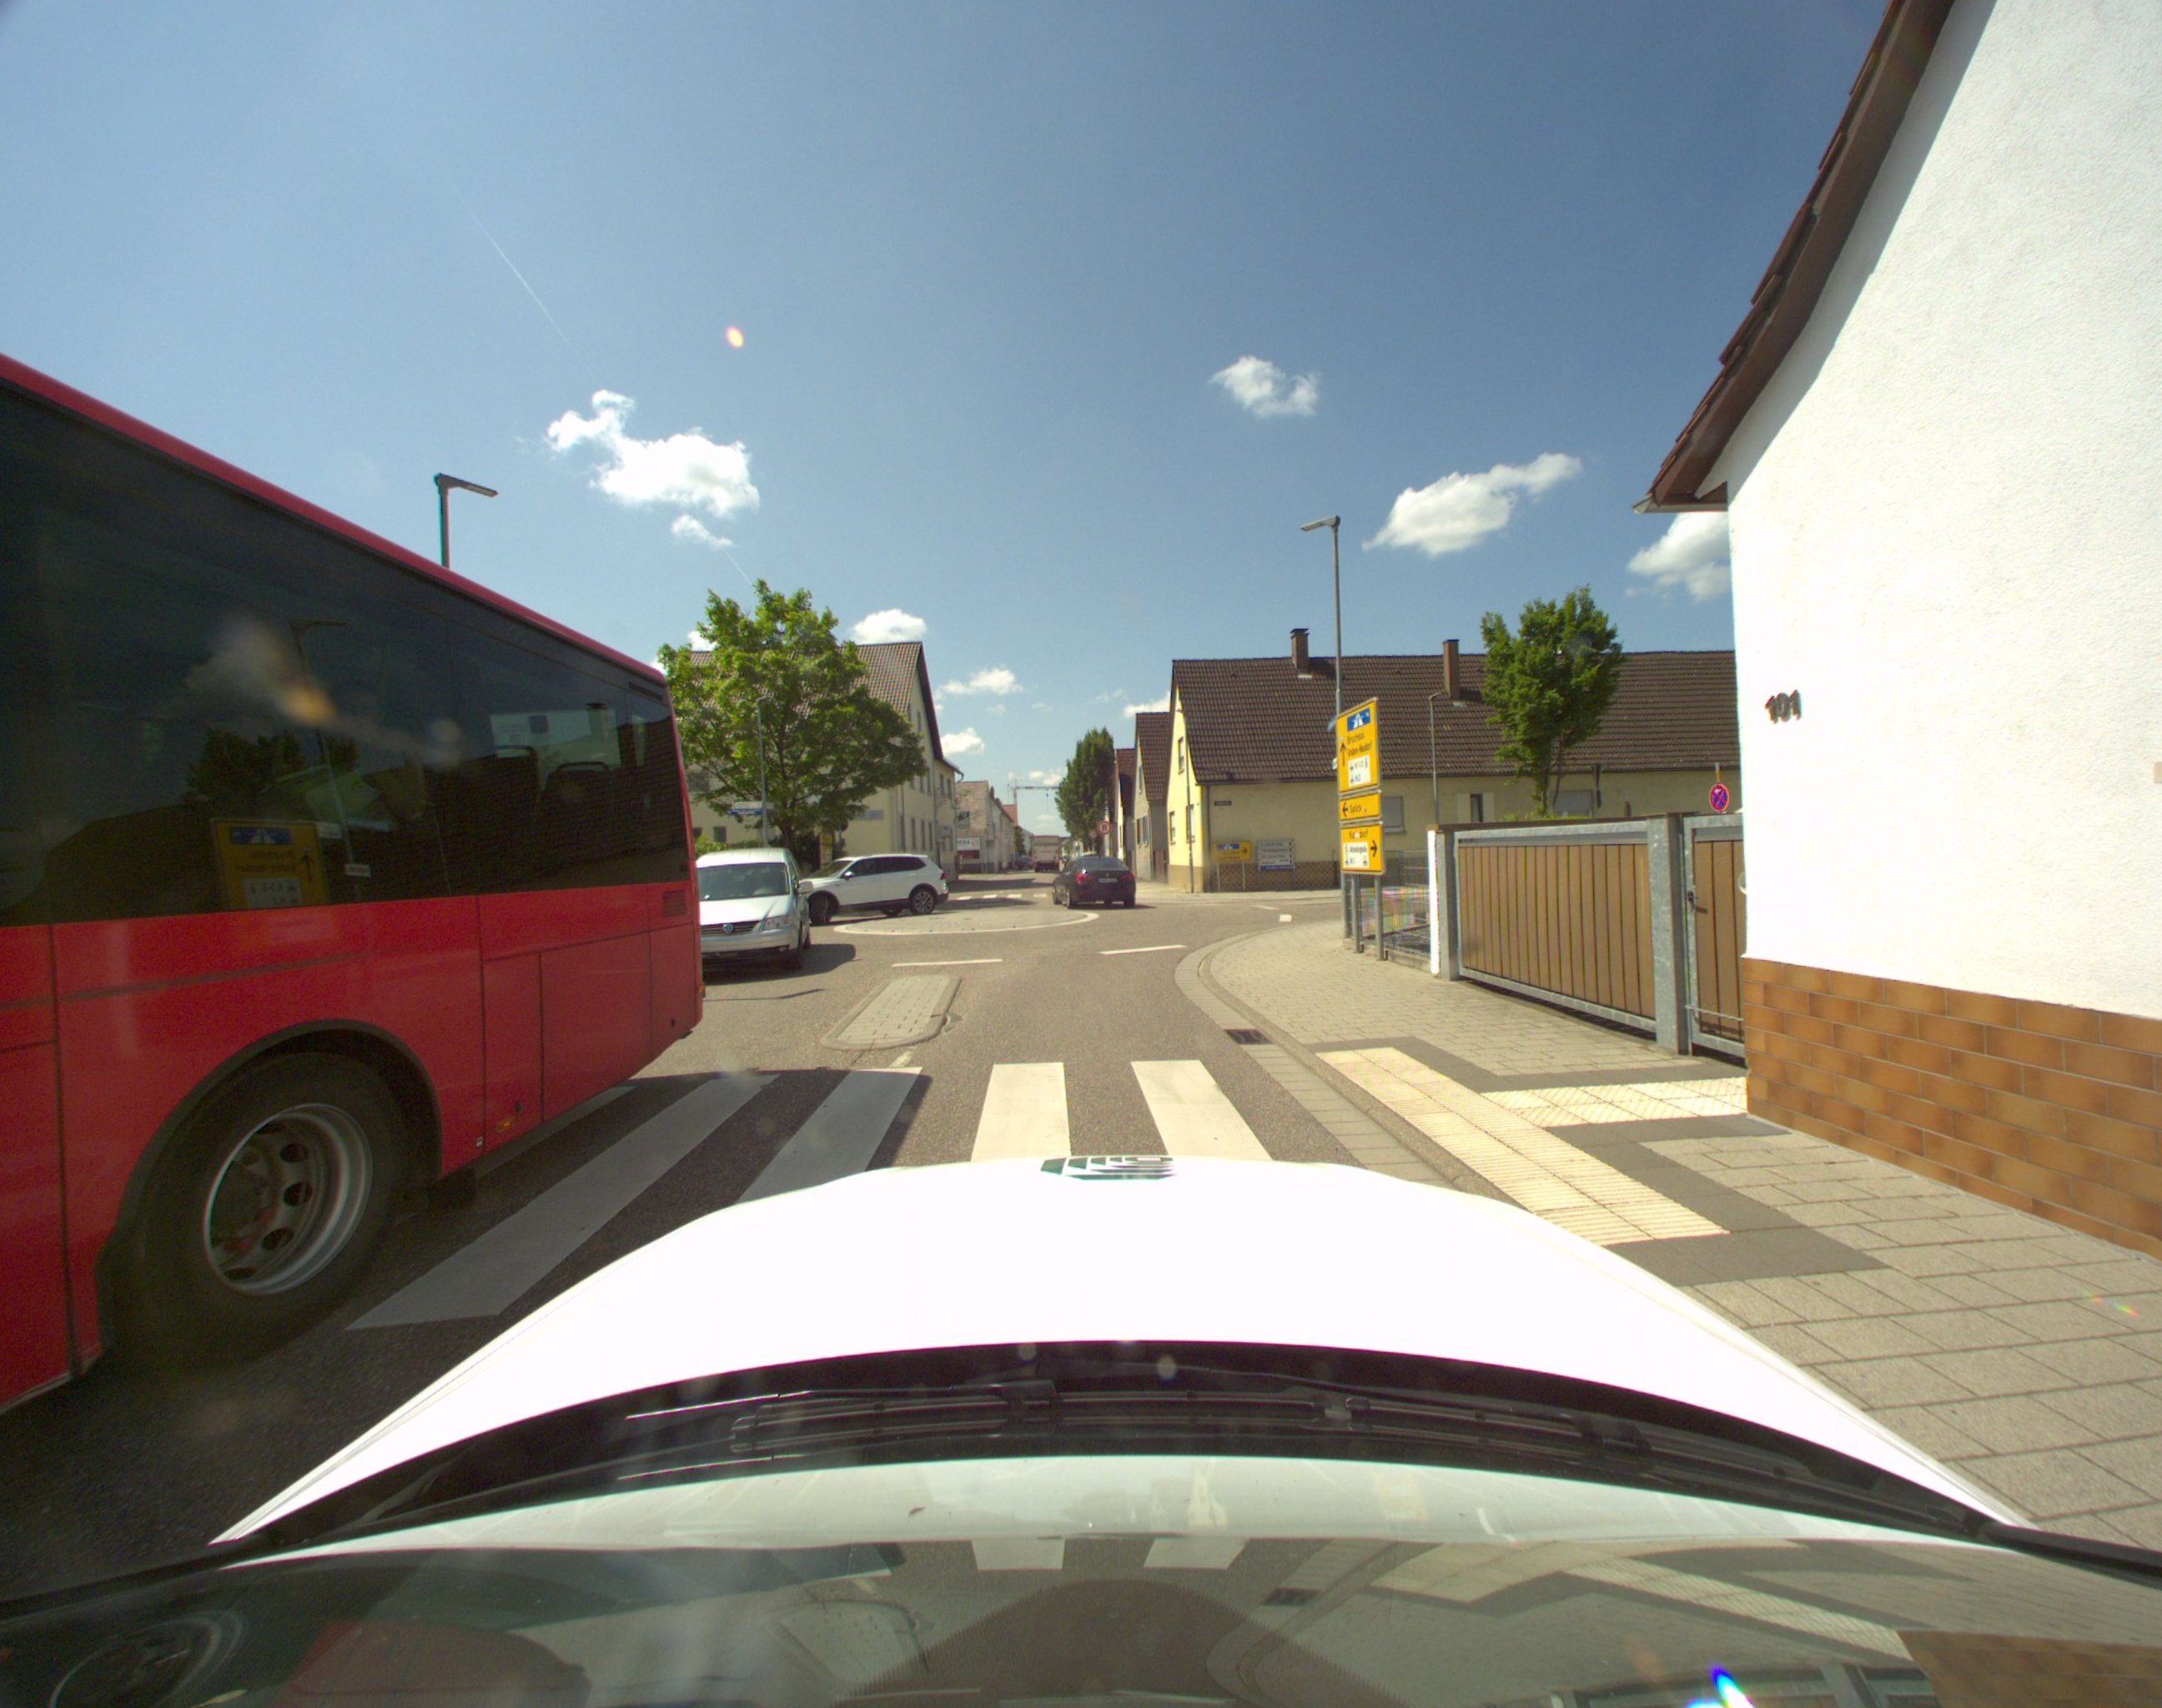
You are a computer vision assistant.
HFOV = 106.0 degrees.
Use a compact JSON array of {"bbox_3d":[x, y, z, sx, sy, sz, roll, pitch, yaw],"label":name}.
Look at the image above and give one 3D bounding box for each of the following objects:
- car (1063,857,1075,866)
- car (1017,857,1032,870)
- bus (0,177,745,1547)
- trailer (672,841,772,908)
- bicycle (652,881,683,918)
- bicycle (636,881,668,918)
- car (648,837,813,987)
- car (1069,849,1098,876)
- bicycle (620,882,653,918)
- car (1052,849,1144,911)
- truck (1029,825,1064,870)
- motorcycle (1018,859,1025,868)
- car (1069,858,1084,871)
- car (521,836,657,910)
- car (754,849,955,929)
[{"bbox_3d":[-1.815,1.172,124.705,1.715,1.355,4.153,-2,0,-2],"label":"car"},{"bbox_3d":[-7.657,1.273,110.218,1.805,1.589,3.996,-2,0,-3],"label":"car"},{"bbox_3d":[-3.770,0.036,0.407,2.621,3.232,12.008,-4,0,-3],"label":"bus"},{"bbox_3d":[-13.620,0.731,31.179,1.874,2.335,4.521,-1,0,-1],"label":"trailer"},{"bbox_3d":[-13.290,1.440,26.215,0.400,1.003,1.973,-2,2,-14],"label":"bicycle"},{"bbox_3d":[-13.733,1.443,26.110,0.400,1.003,1.973,-2,2,-14],"label":"bicycle"},{"bbox_3d":[-5.251,0.766,12.760,1.776,1.821,4.416,-4,0,-17],"label":"car"},{"bbox_3d":[0.143,0.579,59.610,1.716,1.790,4.138,-4,0,-4],"label":"car"},{"bbox_3d":[-14.165,1.445,25.975,0.400,1.003,1.973,-2,2,-14],"label":"bicycle"},{"bbox_3d":[0.382,0.724,23.577,1.901,1.564,4.463,-2,-1,-8],"label":"car"},{"bbox_3d":[-3.308,-0.570,80.816,3.135,4.250,9.298,0,-1,-1],"label":"truck"},{"bbox_3d":[-7.733,1.235,106.401,0.844,1.170,2.466,0,-1,-3],"label":"motorcycle"},{"bbox_3d":[-0.506,1.241,96.353,1.714,1.461,4.155,-2,0,0],"label":"car"},{"bbox_3d":[-18.835,0.675,31.556,1.931,2.567,5.644,-1,0,-1],"label":"car"},{"bbox_3d":[-5.671,0.801,20.781,4.568,1.710,1.849,-2,0,-43],"label":"car"}]
